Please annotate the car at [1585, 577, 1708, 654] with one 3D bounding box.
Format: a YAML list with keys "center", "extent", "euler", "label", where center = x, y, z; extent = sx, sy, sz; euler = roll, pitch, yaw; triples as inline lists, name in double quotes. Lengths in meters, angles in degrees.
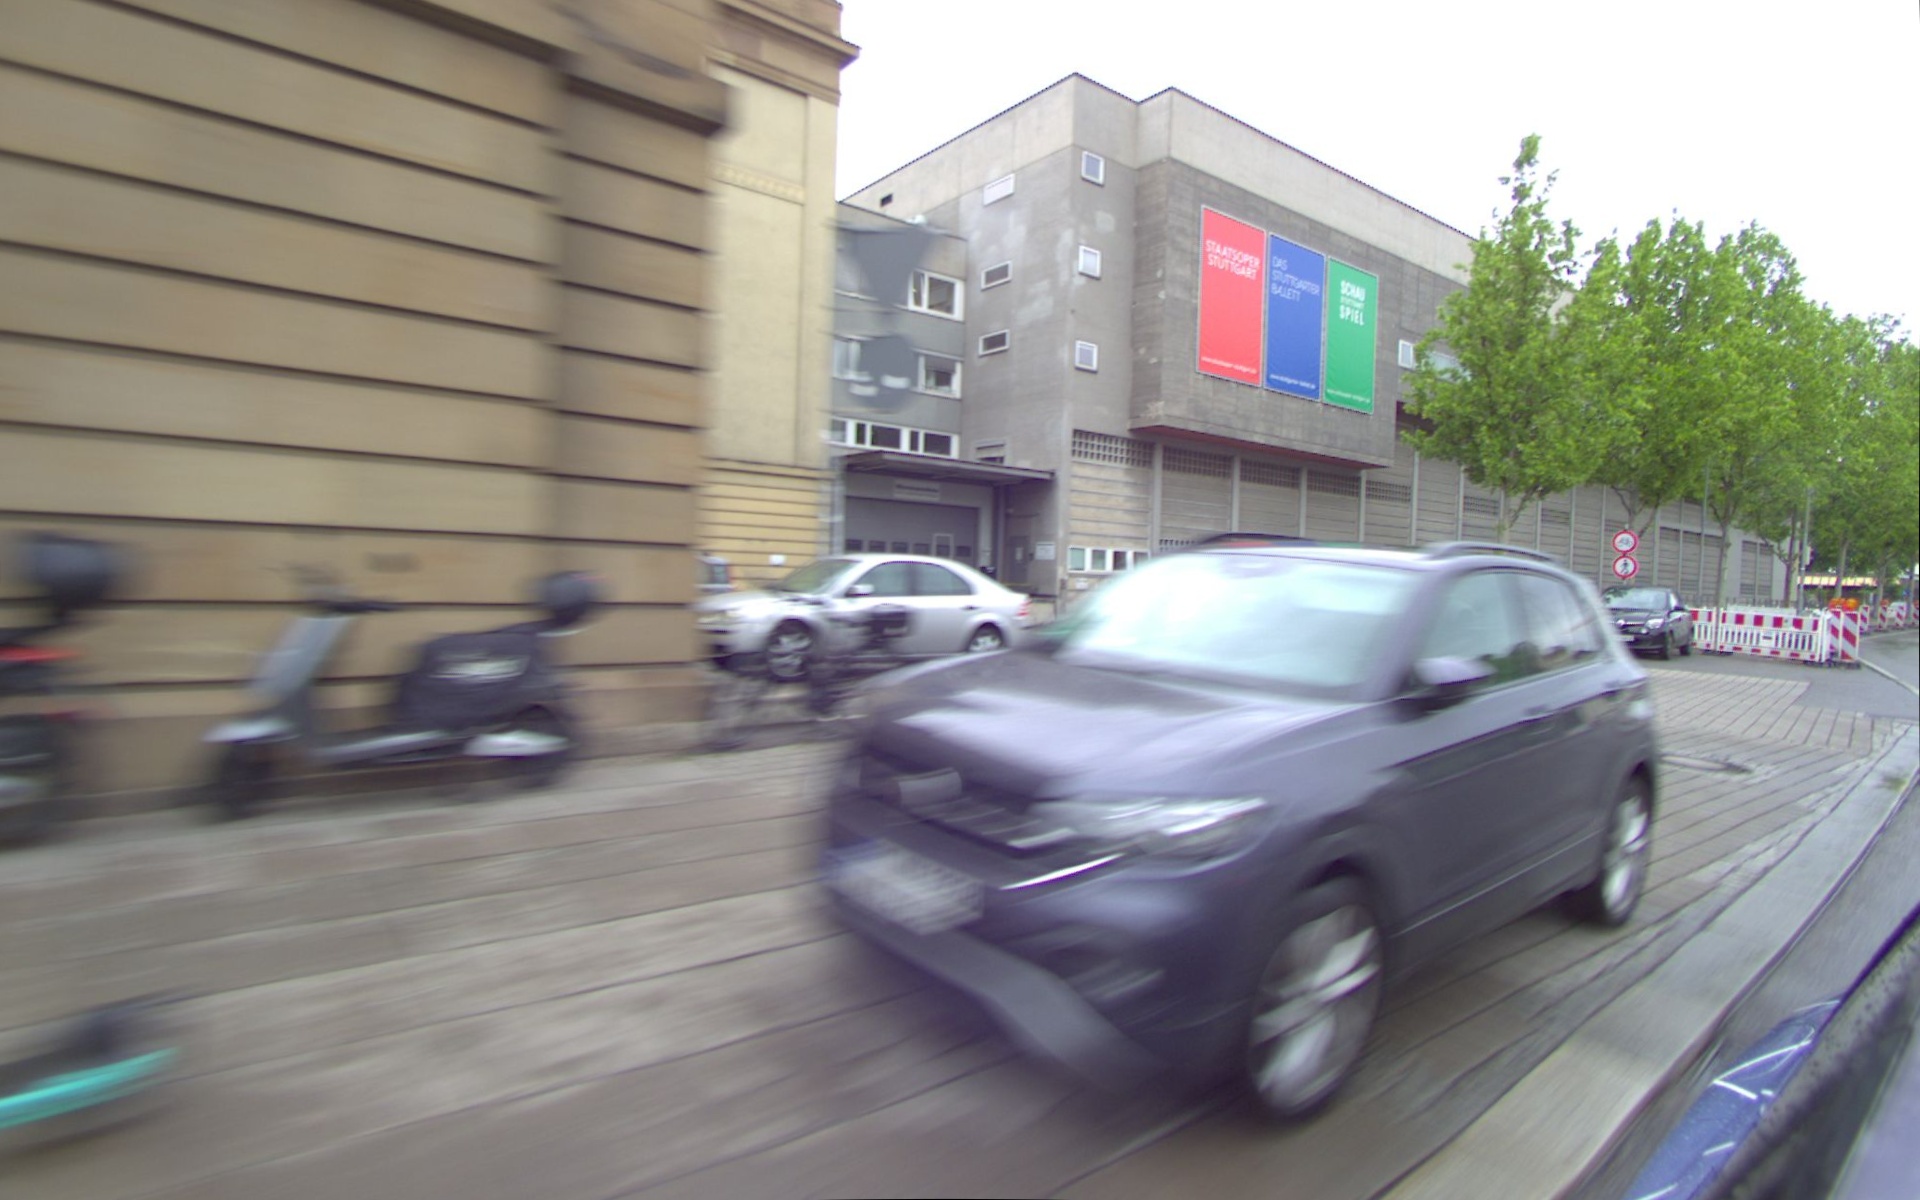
- center: [15.296, 0.274, 22.496]
  extent: [1.687, 1.513, 3.565]
  euler: [2, 3, 43]
  label: "car"

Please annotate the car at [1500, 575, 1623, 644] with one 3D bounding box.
- center: [14.989, 0.192, 25.212]
  extent: [2.965, 1.556, 1.586]
  euler: [-1, 3, -37]
  label: "car"

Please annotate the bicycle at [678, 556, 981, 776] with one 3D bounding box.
- center: [-0.891, 0.375, 7.159]
  extent: [1.827, 1.333, 1.103]
  euler: [-1, 2, -43]
  label: "bicycle"

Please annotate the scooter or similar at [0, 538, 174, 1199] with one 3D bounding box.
- center: [-2.121, 0.549, 1.810]
  extent: [0.433, 1.336, 1.061]
  euler: [2, 1, 40]
  label: "scooter or similar"

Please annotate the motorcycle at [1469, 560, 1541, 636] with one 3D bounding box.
- center: [14.428, -0.066, 26.758]
  extent: [2.544, 1.928, 0.750]
  euler: [0, 2, -40]
  label: "motorcycle"

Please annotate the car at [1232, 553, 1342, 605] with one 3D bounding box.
- center: [12.520, -0.810, 38.611]
  extent: [4.800, 1.809, 1.776]
  euler: [-1, 3, -42]
  label: "car"

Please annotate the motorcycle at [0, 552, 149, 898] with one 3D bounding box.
- center: [-4.438, 0.481, 3.827]
  extent: [2.094, 1.342, 0.669]
  euler: [0, 1, -35]
  label: "motorcycle"

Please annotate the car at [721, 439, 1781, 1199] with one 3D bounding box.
- center: [1.484, 0.480, 4.001]
  extent: [4.325, 1.639, 1.876]
  euler: [0, 3, -40]
  label: "car"

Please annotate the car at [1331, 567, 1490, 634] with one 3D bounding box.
- center: [12.382, 0.023, 27.747]
  extent: [4.405, 1.705, 1.961]
  euler: [0, -1, -34]
  label: "car"

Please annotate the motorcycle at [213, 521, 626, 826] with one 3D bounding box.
- center: [-2.727, 0.300, 5.199]
  extent: [1.765, 1.315, 0.809]
  euler: [0, 1, -35]
  label: "motorcycle"

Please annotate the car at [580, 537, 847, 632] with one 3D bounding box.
- center: [-4.468, -0.279, 18.713]
  extent: [4.426, 1.558, 1.824]
  euler: [1, 3, -38]
  label: "car"

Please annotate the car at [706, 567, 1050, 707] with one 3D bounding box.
- center: [-0.888, 0.346, 12.400]
  extent: [4.054, 1.428, 1.524]
  euler: [-1, 2, -40]
  label: "car"

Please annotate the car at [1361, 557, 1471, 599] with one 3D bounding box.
- center: [19.240, -0.951, 42.842]
  extent: [1.747, 1.598, 3.848]
  euler: [0, 3, -39]
  label: "car"
